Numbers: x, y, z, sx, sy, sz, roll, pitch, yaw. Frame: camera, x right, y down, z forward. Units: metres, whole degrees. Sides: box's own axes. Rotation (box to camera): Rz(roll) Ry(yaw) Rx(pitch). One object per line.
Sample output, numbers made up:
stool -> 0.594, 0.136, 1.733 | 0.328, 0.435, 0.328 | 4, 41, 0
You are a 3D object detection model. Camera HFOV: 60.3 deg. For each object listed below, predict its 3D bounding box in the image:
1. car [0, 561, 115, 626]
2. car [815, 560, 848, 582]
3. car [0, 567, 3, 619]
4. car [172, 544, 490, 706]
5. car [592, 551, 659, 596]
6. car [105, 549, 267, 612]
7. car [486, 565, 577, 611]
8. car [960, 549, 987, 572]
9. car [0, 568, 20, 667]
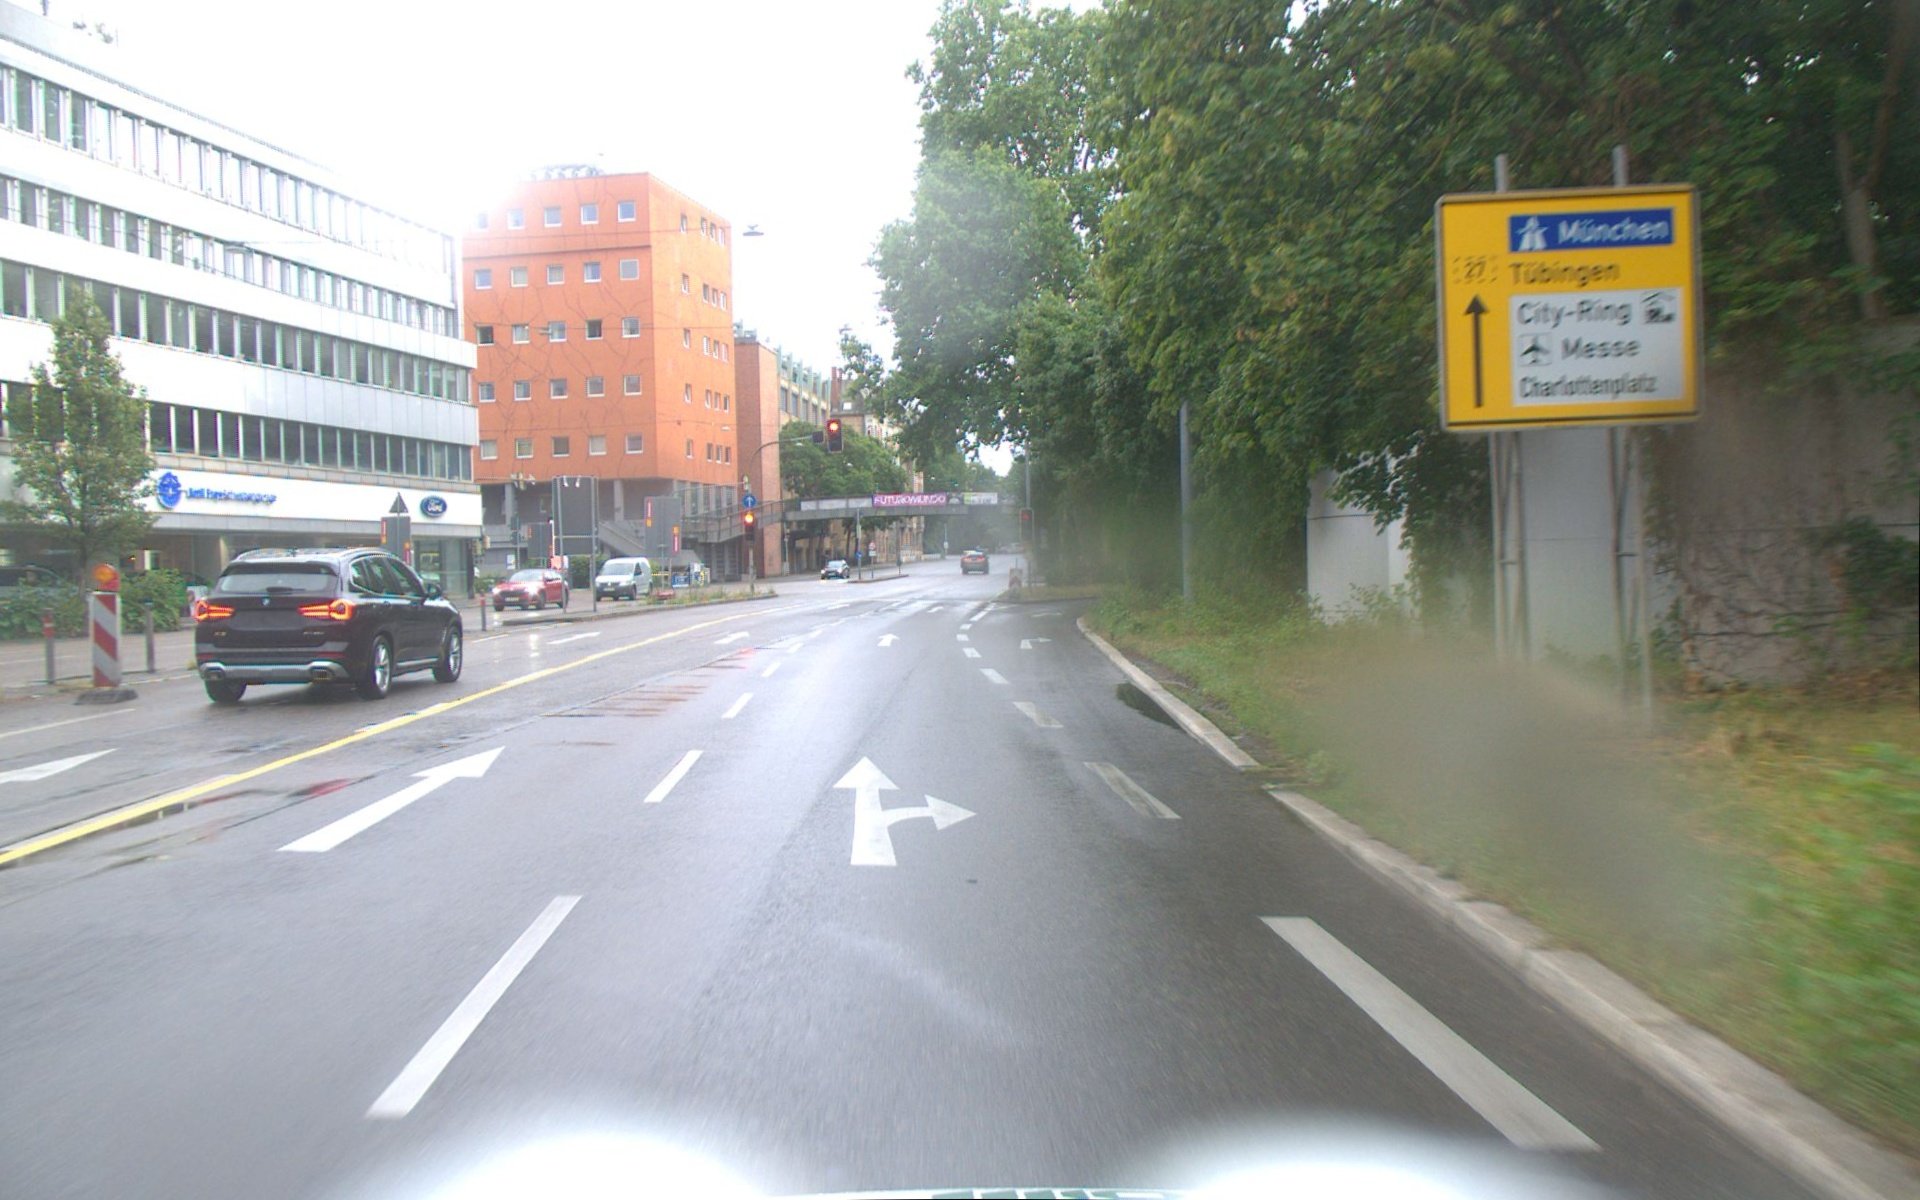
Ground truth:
car -> -30.642, -0.176, 54.115 | 4.944, 1.930, 1.970 | -4, 1, -41
car -> -9.819, -2.230, 126.449 | 1.952, 1.545, 4.002 | -1, 1, 3
car -> -30.933, -0.123, 49.299 | 3.939, 1.601, 1.983 | -4, 1, -26
car -> -7.137, 0.180, 19.374 | 1.907, 1.625, 4.671 | 0, 2, 0
car -> -14.481, -1.159, 71.731 | 1.697, 1.817, 4.304 | -3, 1, 4
car -> -28.457, -0.732, 60.892 | 5.140, 2.046, 1.978 | -4, 1, -32
car -> -15.514, -0.466, 60.114 | 1.791, 1.528, 4.376 | -3, 1, 4
car -> 1.078, -3.150, 132.435 | 2.077, 1.765, 4.199 | 0, 2, 0
car -> -16.393, 0.352, 24.905 | 1.770, 1.585, 4.303 | -2, 1, 3
